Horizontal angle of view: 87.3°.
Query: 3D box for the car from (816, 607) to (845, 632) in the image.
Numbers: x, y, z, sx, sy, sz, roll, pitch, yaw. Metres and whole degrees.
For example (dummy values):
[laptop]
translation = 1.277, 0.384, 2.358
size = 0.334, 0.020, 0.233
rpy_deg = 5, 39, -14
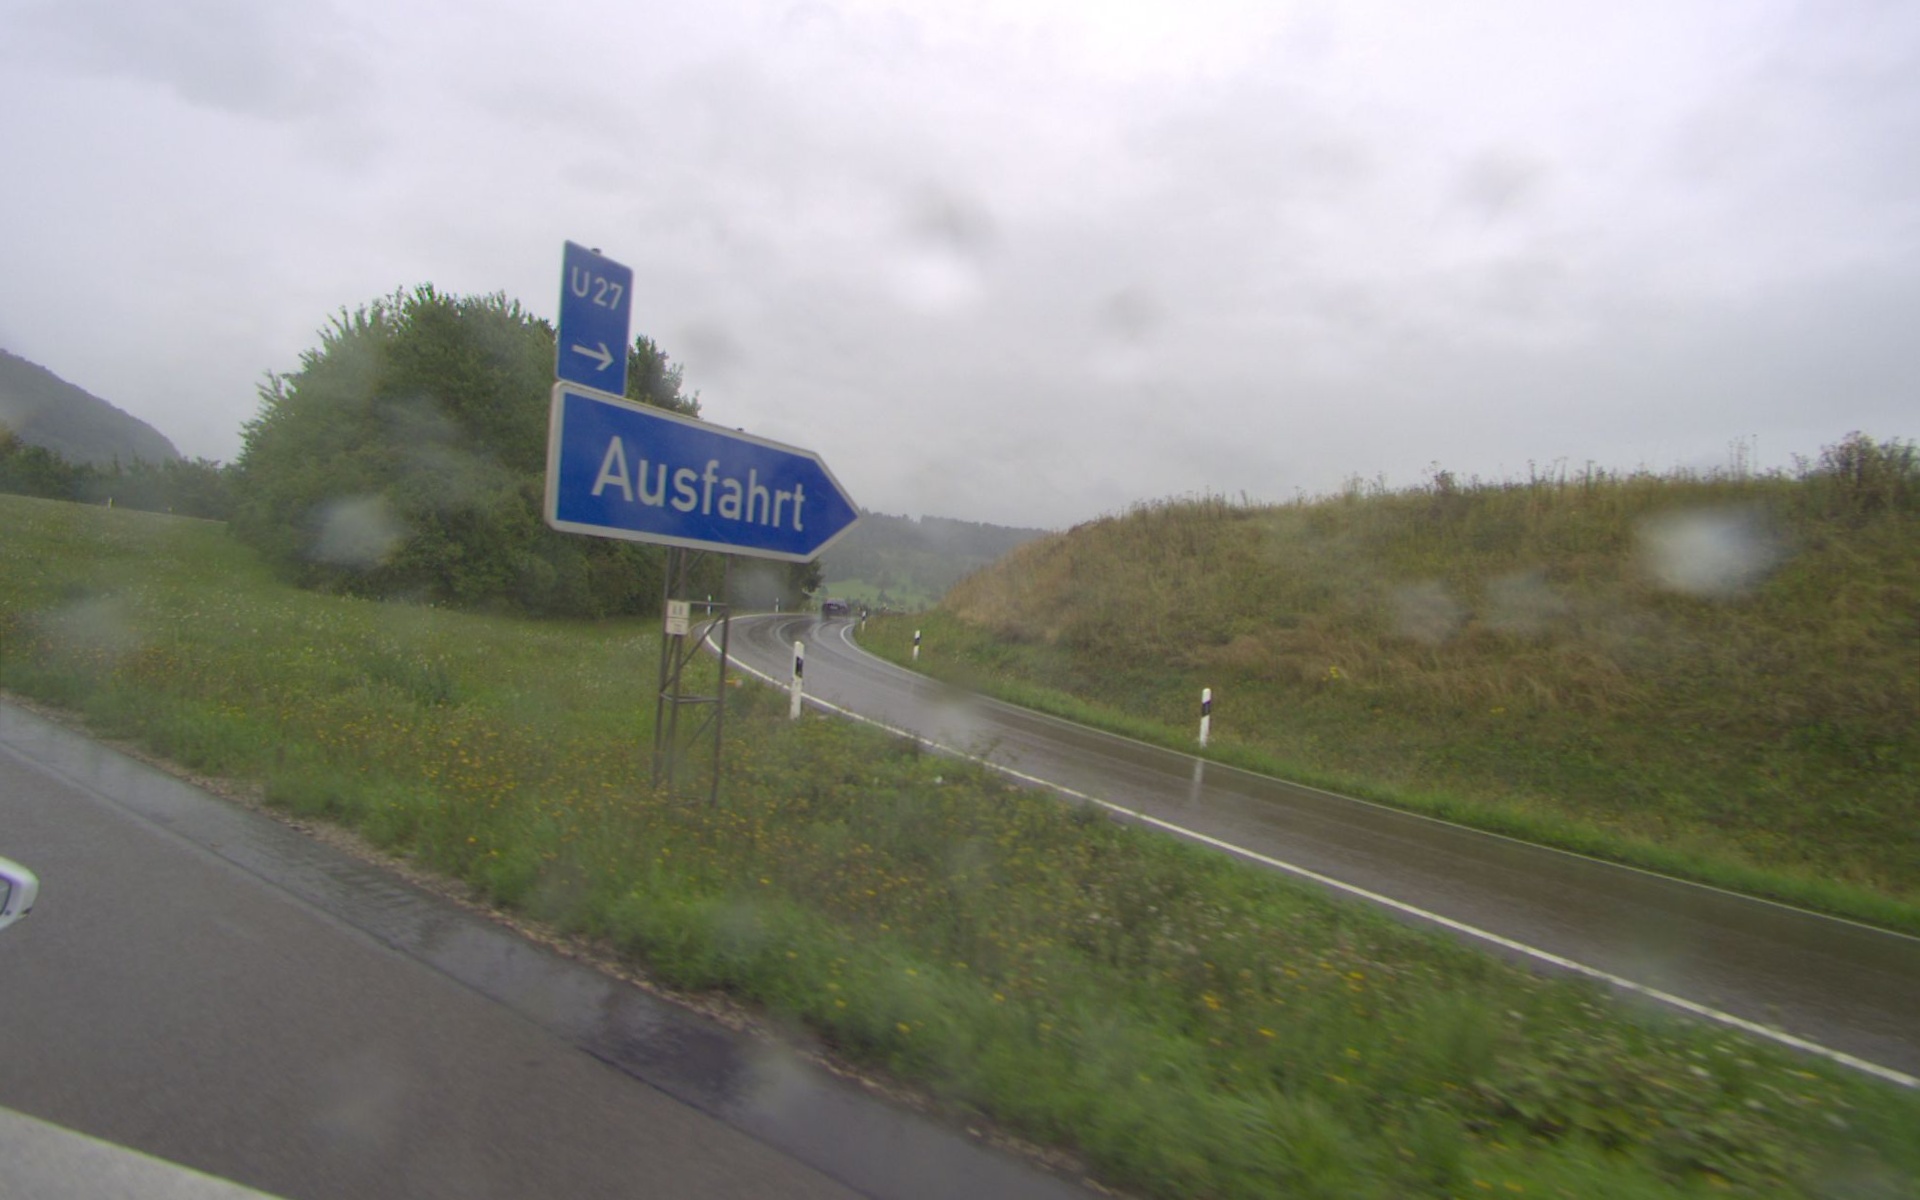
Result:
[car]
translation = -9.165, 1.412, 71.247
size = 1.676, 1.525, 3.633
rpy_deg = 8, -2, -5
